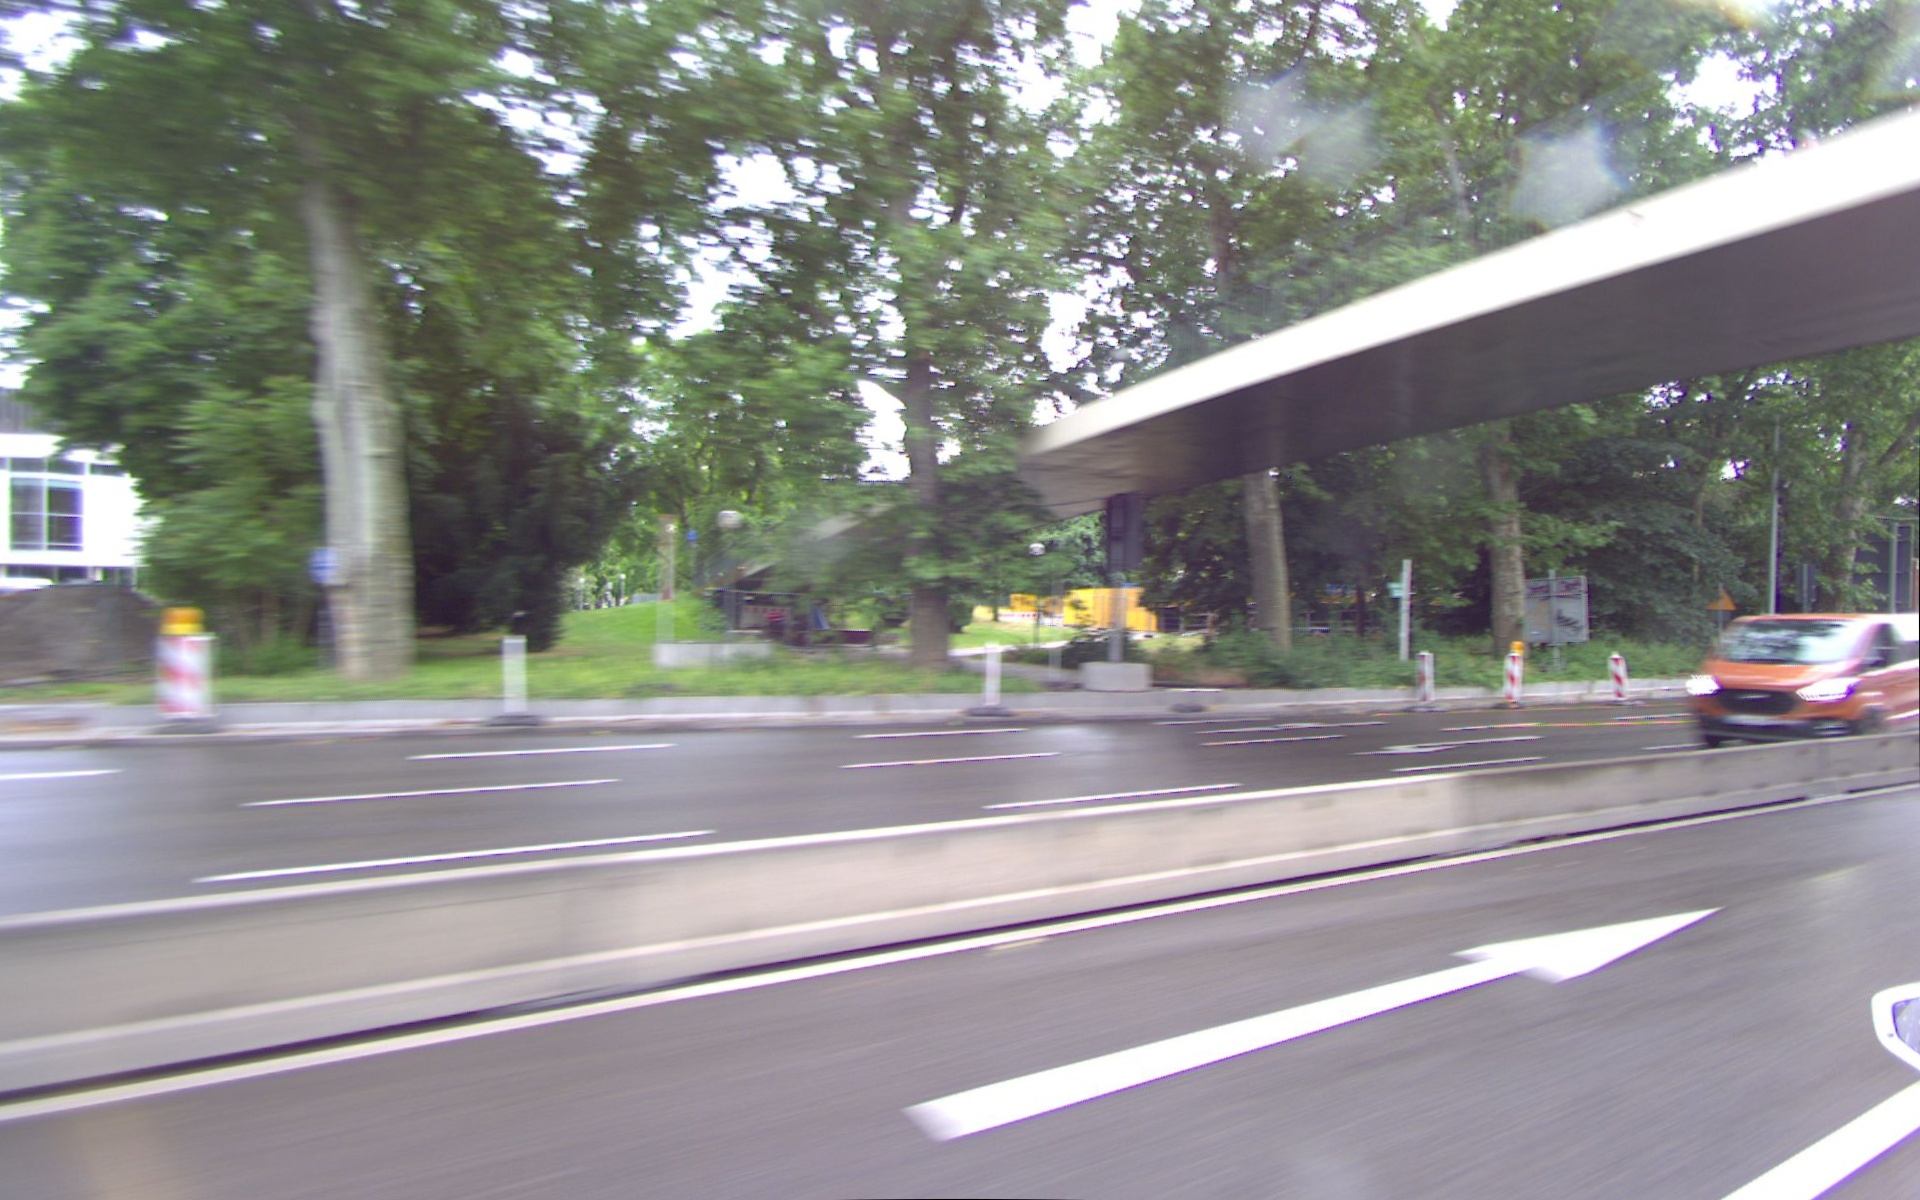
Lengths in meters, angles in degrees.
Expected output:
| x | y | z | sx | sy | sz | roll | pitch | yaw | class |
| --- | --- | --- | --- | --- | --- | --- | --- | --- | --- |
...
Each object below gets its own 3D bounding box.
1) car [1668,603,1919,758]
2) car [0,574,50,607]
| x | y | z | sx | sy | sz | roll | pitch | yaw | class |
| --- | --- | --- | --- | --- | --- | --- | --- | --- | --- |
| 12.821 | 1.183 | 14.873 | 4.988 | 1.961 | 2.021 | 3 | -4 | -31 | car |
| -55.758 | -0.541 | 59.787 | 1.699 | 1.816 | 3.962 | 4 | -1 | -34 | car |
